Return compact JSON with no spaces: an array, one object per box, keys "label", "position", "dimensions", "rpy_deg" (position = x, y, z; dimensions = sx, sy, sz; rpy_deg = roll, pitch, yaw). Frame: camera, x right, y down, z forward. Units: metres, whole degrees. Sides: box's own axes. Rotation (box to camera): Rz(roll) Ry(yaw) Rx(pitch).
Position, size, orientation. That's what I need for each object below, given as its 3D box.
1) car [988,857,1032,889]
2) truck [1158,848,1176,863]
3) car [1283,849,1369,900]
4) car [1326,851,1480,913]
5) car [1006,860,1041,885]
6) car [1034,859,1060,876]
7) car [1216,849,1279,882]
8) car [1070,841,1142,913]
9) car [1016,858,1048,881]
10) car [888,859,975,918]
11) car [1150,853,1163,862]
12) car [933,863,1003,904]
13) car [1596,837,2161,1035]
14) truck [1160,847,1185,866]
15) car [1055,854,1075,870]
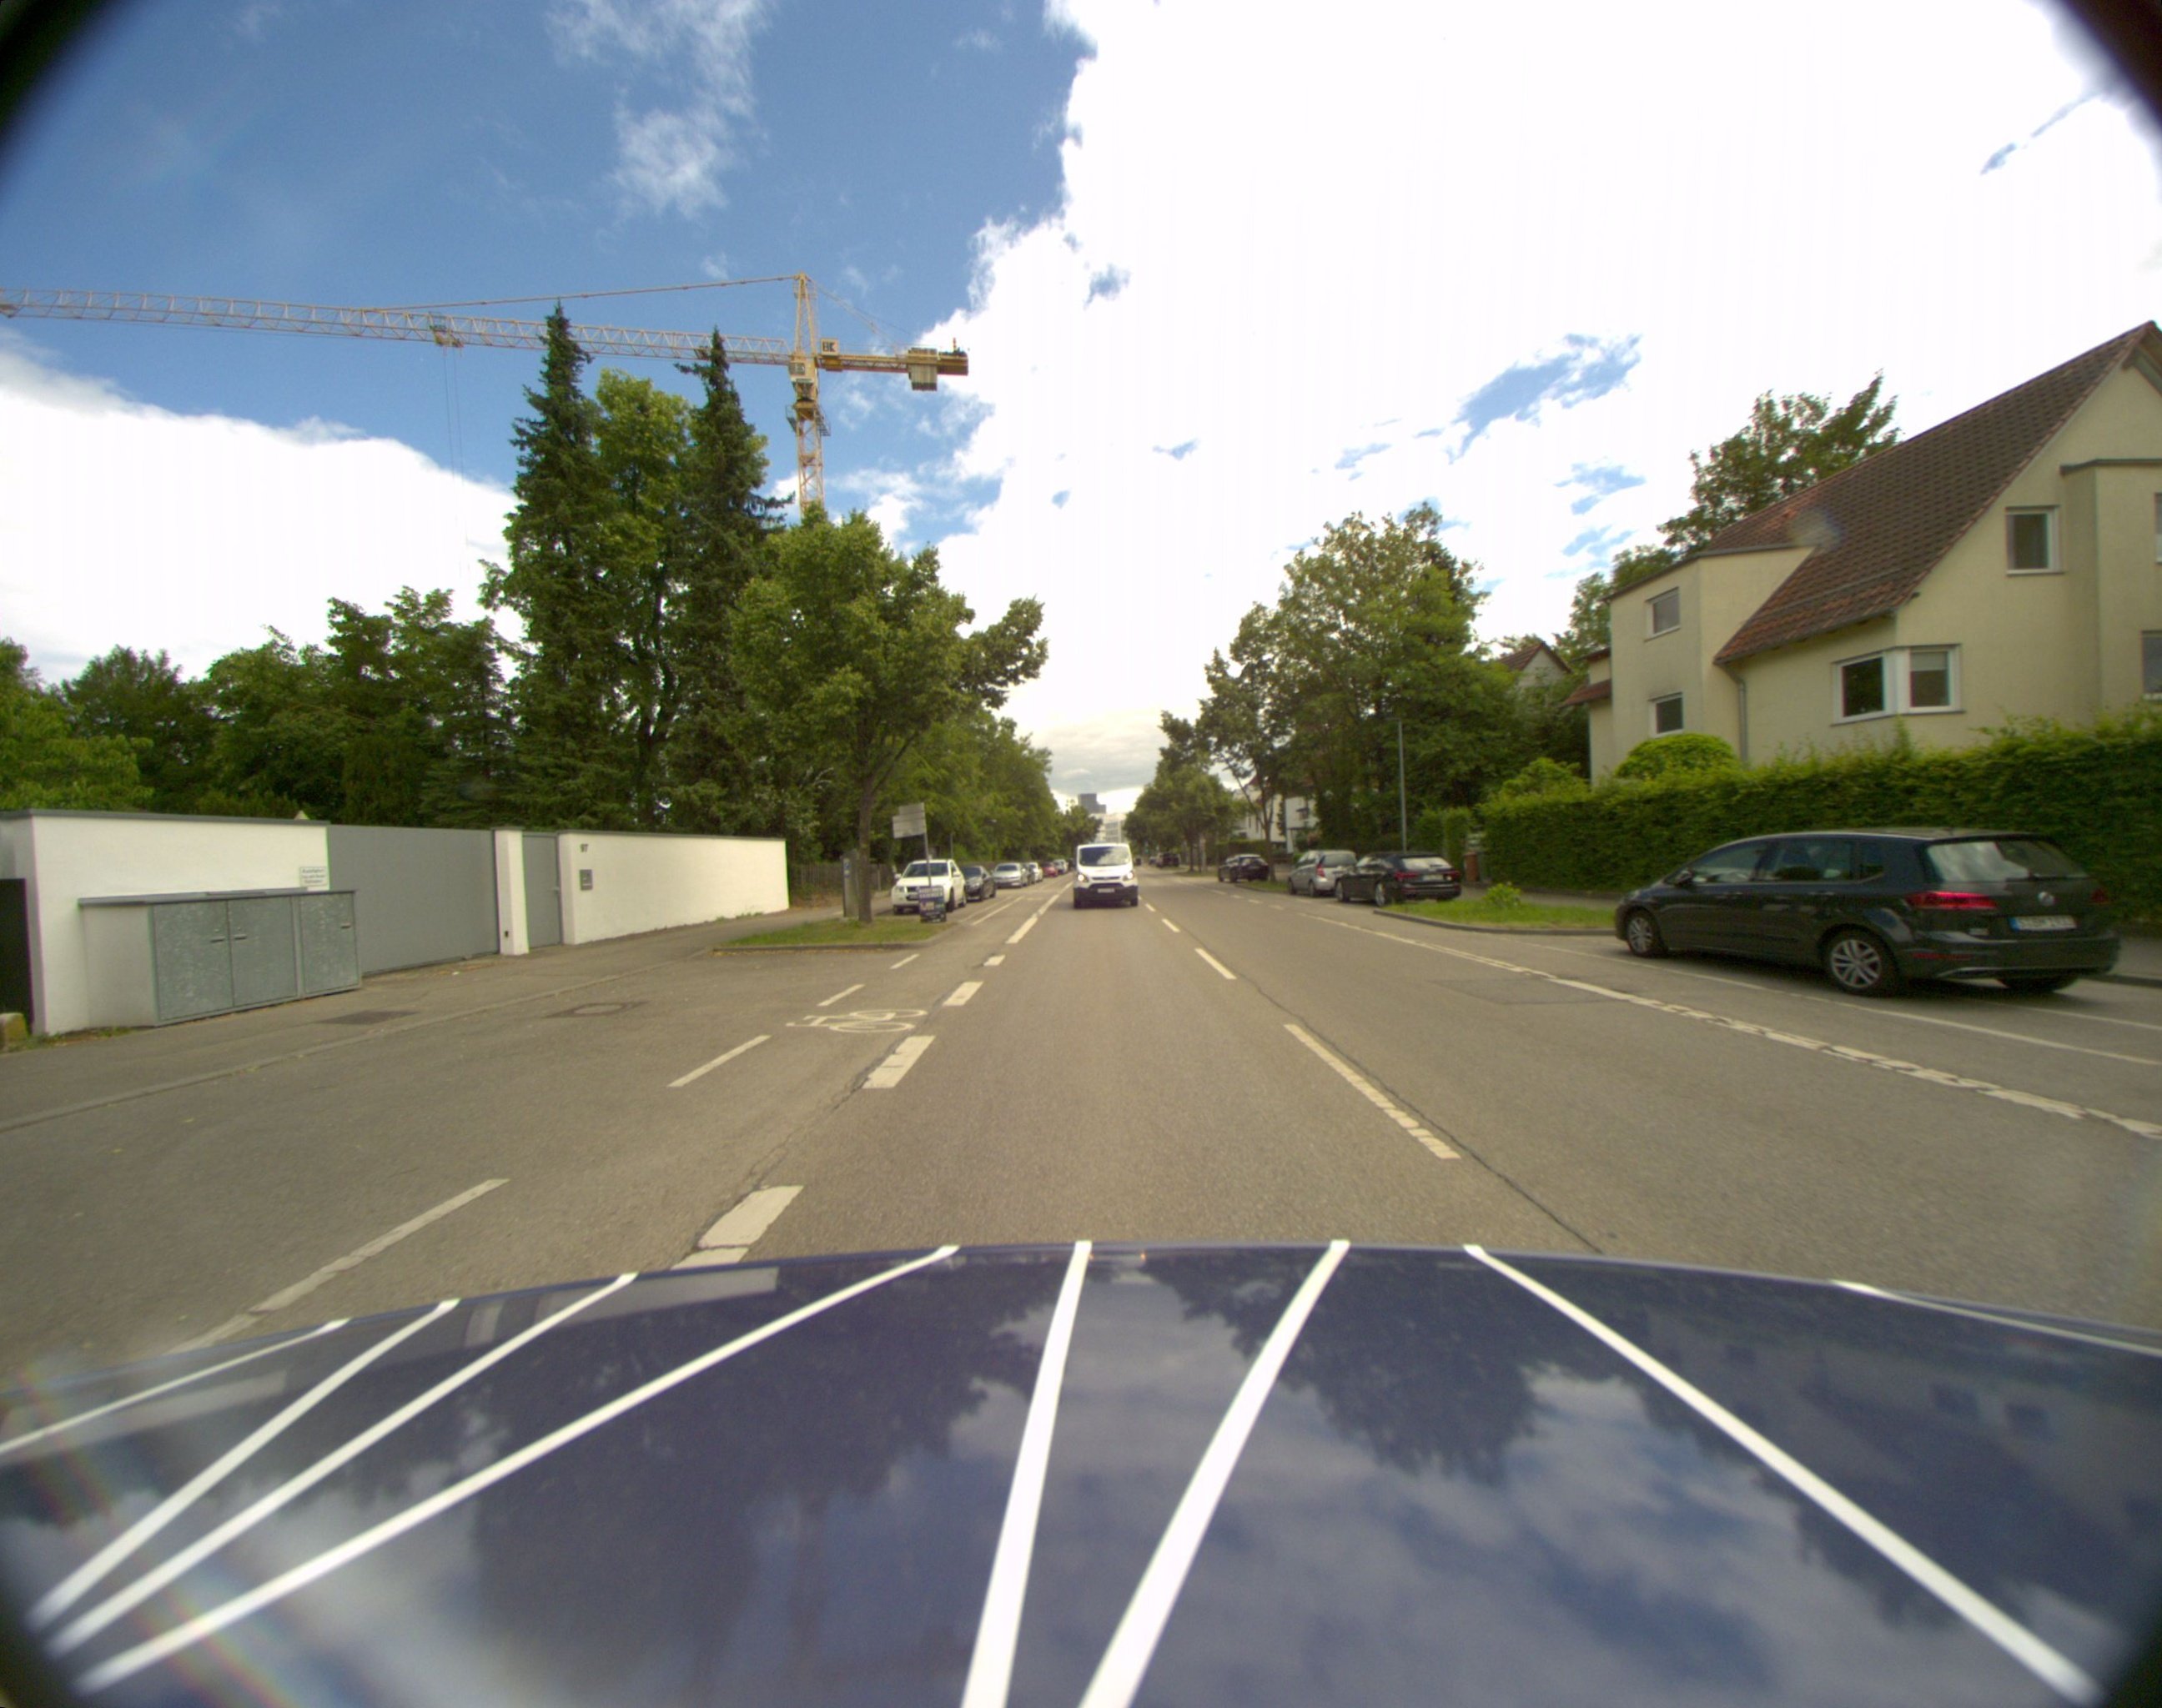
[{"label":"car","position":[-4.067,1.030,44.062],"dimensions":[1.866,1.601,4.686],"rpy_deg":[-3,0,2]},{"label":"truck","position":[10.980,0.222,97.775],"dimensions":[1.971,1.857,5.665],"rpy_deg":[-1,0,3]},{"label":"car","position":[8.462,0.660,26.535],"dimensions":[1.722,1.603,3.910],"rpy_deg":[-2,0,0]},{"label":"car","position":[8.660,0.688,21.003],"dimensions":[1.999,1.476,4.889],"rpy_deg":[-1,0,-2]},{"label":"car","position":[-3.745,1.186,49.984],"dimensions":[1.706,1.501,4.538],"rpy_deg":[-3,0,3]},{"label":"car","position":[-3.077,1.229,70.322],"dimensions":[1.863,1.405,4.444],"rpy_deg":[-4,-1,3]},{"label":"car","position":[8.786,0.601,40.539],"dimensions":[2.100,1.637,5.038],"rpy_deg":[-1,0,-1]},{"label":"car","position":[0.863,0.645,24.932],"dimensions":[1.998,2.002,5.189],"rpy_deg":[-4,0,3]},{"label":"car","position":[-3.529,1.120,55.245],"dimensions":[1.772,1.501,4.031],"rpy_deg":[-2,1,3]},{"label":"car","position":[-4.755,1.054,24.740],"dimensions":[1.905,1.633,4.116],"rpy_deg":[-2,0,0]},{"label":"car","position":[12.500,0.604,126.330],"dimensions":[1.750,1.400,4.928],"rpy_deg":[-1,0,2]},{"label":"car","position":[-4.436,1.131,30.555],"dimensions":[1.868,1.408,4.603],"rpy_deg":[-2,0,3]},{"label":"car","position":[7.942,0.663,8.269],"dimensions":[1.681,1.543,4.272],"rpy_deg":[-2,0,-1]},{"label":"truck","position":[10.844,0.289,90.276],"dimensions":[2.428,2.031,5.996],"rpy_deg":[-2,0,2]},{"label":"car","position":[-2.032,0.998,98.006],"dimensions":[1.998,1.805,4.827],"rpy_deg":[-3,1,3]}]
